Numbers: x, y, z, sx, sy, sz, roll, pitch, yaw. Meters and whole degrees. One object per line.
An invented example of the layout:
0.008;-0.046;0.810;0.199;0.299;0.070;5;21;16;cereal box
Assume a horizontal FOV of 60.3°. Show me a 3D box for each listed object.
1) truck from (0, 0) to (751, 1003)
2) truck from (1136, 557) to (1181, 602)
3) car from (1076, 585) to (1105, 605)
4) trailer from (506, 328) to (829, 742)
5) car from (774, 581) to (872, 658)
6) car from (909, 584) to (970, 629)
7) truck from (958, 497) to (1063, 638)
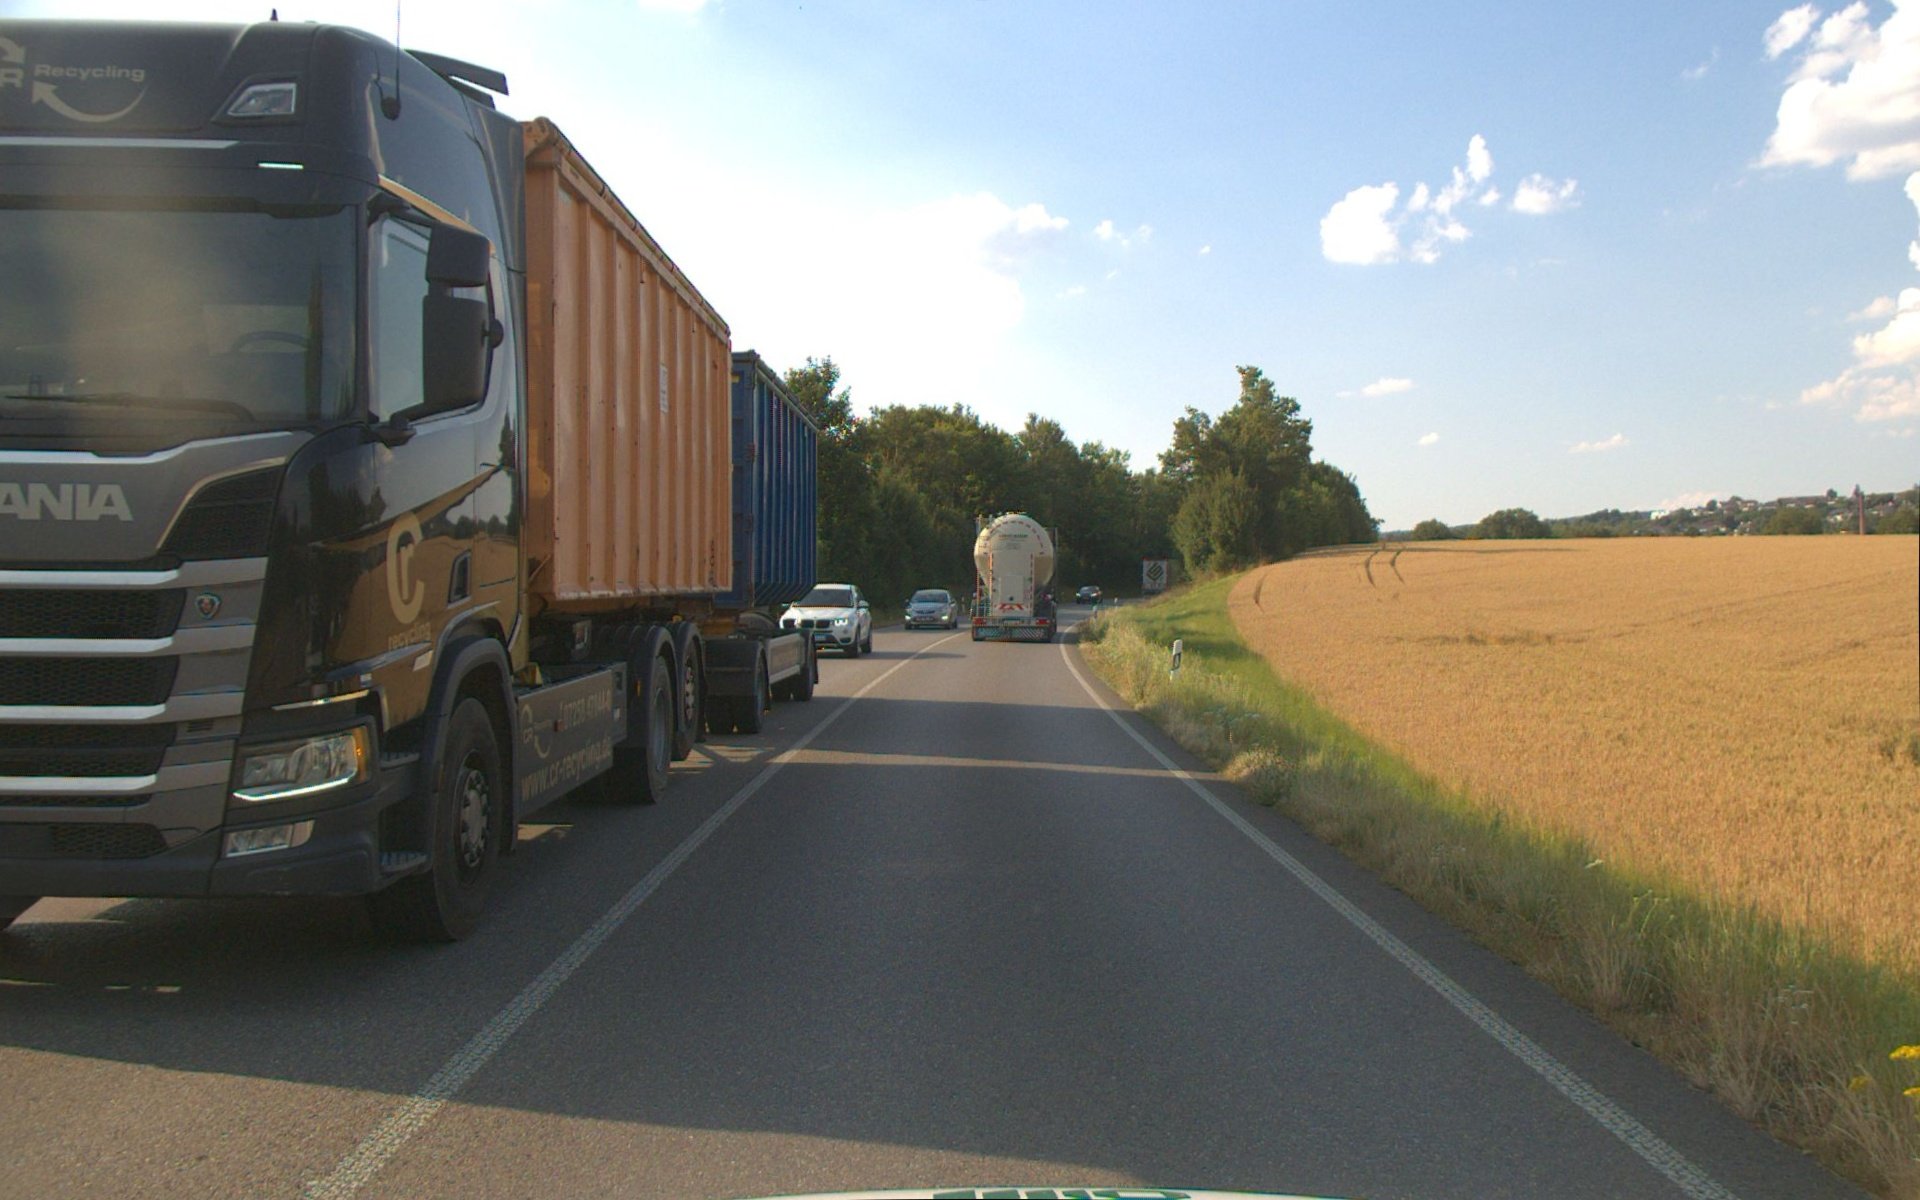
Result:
-3.230;-0.593;10.835;2.340;3.989;10.159;0;0;0;truck
20.044;-2.072;166.236;3.115;4.301;13.184;-1;1;13;truck
11.562;-0.437;146.686;1.933;1.679;4.741;0;1;12;car
-3.179;-0.626;20.443;2.316;3.989;8.961;0;0;0;trailer
-3.189;0.403;39.256;1.934;1.679;4.362;-1;1;0;car
-0.772;0.215;65.370;1.933;1.679;4.365;-1;1;6;car
1.925;-0.972;56.304;2.832;4.215;13.179;0;0;5;truck
